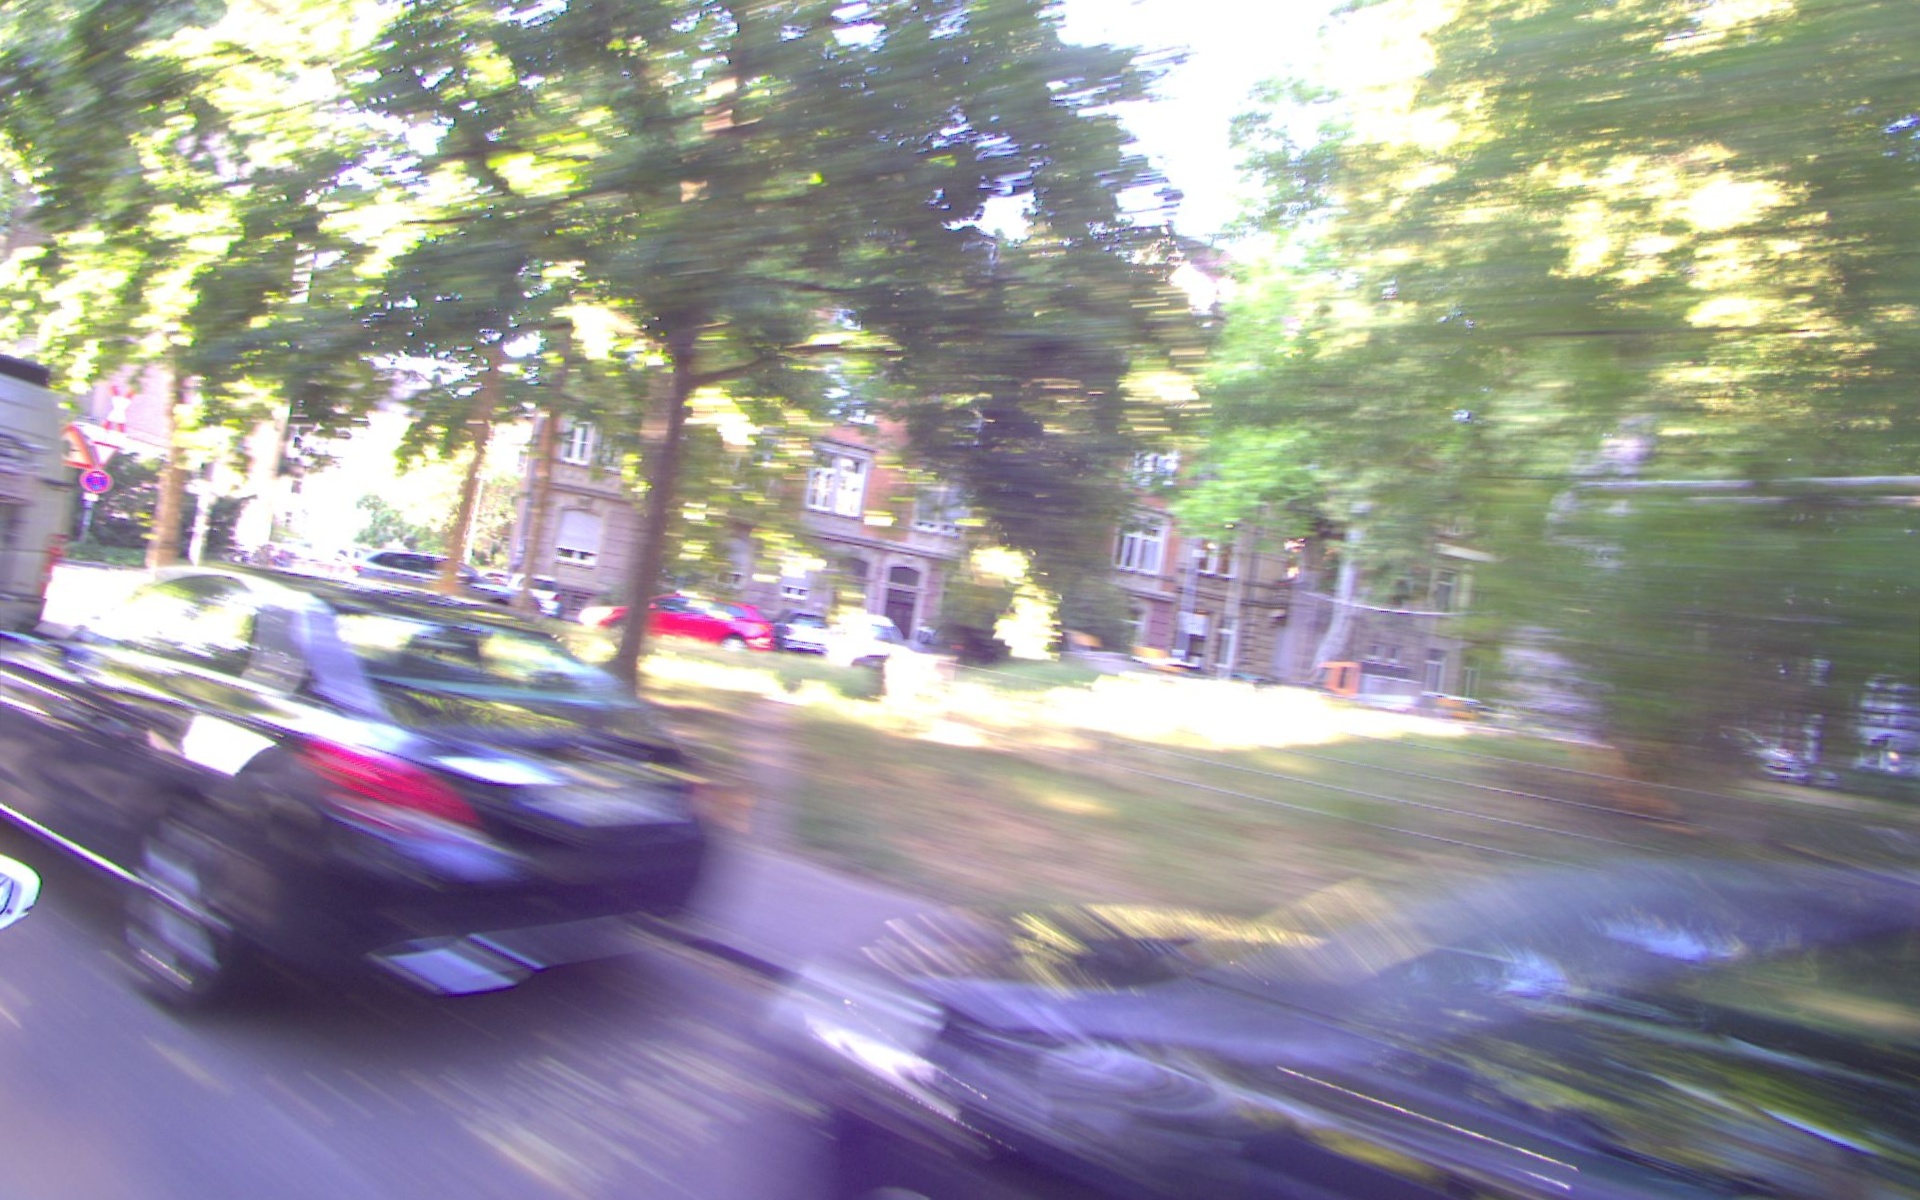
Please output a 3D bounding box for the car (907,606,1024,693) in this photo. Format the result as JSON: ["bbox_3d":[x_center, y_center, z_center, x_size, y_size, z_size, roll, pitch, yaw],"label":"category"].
[{"bbox_3d":[0.031,1.302,25.695,1.759,1.794,4.398,9,-6,-14],"label":"car"}]

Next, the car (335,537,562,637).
[{"bbox_3d":[-11.702,-0.234,23.321,4.210,1.567,1.741,9,-5,-14],"label":"car"}]

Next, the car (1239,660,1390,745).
[{"bbox_3d":[9.861,2.823,28.332,1.969,1.803,3.991,8,-2,-14],"label":"car"}]

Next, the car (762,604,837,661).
[{"bbox_3d":[-5.655,1.095,35.119,1.630,1.614,3.630,9,-2,-22],"label":"car"}]

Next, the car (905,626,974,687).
[{"bbox_3d":[-0.792,1.961,35.909,1.706,1.650,4.477,9,-1,-8],"label":"car"}]

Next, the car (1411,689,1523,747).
[{"bbox_3d":[21.341,4.958,42.550,1.969,1.803,3.991,8,-2,-14],"label":"car"}]

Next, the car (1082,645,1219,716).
[{"bbox_3d":[4.947,2.114,26.803,1.759,1.507,4.398,9,-6,-14],"label":"car"}]

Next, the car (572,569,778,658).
[{"bbox_3d":[-6.961,0.374,24.761,4.577,1.465,1.740,9,-4,-17],"label":"car"}]

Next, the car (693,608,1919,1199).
[{"bbox_3d":[1.726,1.102,1.643,4.216,1.543,1.684,7,-2,32],"label":"car"}]

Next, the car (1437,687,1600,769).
[{"bbox_3d":[16.740,3.808,30.408,1.969,1.803,3.991,8,-2,-14],"label":"car"}]

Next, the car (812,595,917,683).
[{"bbox_3d":[-2.419,1.013,24.489,1.707,1.724,4.398,9,-6,-14],"label":"car"}]

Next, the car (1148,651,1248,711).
[{"bbox_3d":[9.115,3.081,38.865,1.969,1.803,3.991,8,-2,-14],"label":"car"}]

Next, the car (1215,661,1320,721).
[{"bbox_3d":[11.890,3.484,39.142,1.969,1.803,3.991,8,-2,-14],"label":"car"}]

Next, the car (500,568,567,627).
[{"bbox_3d":[-13.708,-0.128,32.495,1.712,1.490,3.979,9,-1,-22],"label":"car"}]

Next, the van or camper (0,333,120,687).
[{"bbox_3d":[-10.331,-1.061,9.328,5.751,2.793,2.088,7,-2,34],"label":"van or camper"}]

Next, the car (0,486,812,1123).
[{"bbox_3d":[-3.001,0.473,4.536,4.415,1.543,1.684,7,-2,32],"label":"car"}]

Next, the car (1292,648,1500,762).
[{"bbox_3d":[12.401,2.900,29.133,2.337,2.484,5.493,8,-2,-16],"label":"car"}]
